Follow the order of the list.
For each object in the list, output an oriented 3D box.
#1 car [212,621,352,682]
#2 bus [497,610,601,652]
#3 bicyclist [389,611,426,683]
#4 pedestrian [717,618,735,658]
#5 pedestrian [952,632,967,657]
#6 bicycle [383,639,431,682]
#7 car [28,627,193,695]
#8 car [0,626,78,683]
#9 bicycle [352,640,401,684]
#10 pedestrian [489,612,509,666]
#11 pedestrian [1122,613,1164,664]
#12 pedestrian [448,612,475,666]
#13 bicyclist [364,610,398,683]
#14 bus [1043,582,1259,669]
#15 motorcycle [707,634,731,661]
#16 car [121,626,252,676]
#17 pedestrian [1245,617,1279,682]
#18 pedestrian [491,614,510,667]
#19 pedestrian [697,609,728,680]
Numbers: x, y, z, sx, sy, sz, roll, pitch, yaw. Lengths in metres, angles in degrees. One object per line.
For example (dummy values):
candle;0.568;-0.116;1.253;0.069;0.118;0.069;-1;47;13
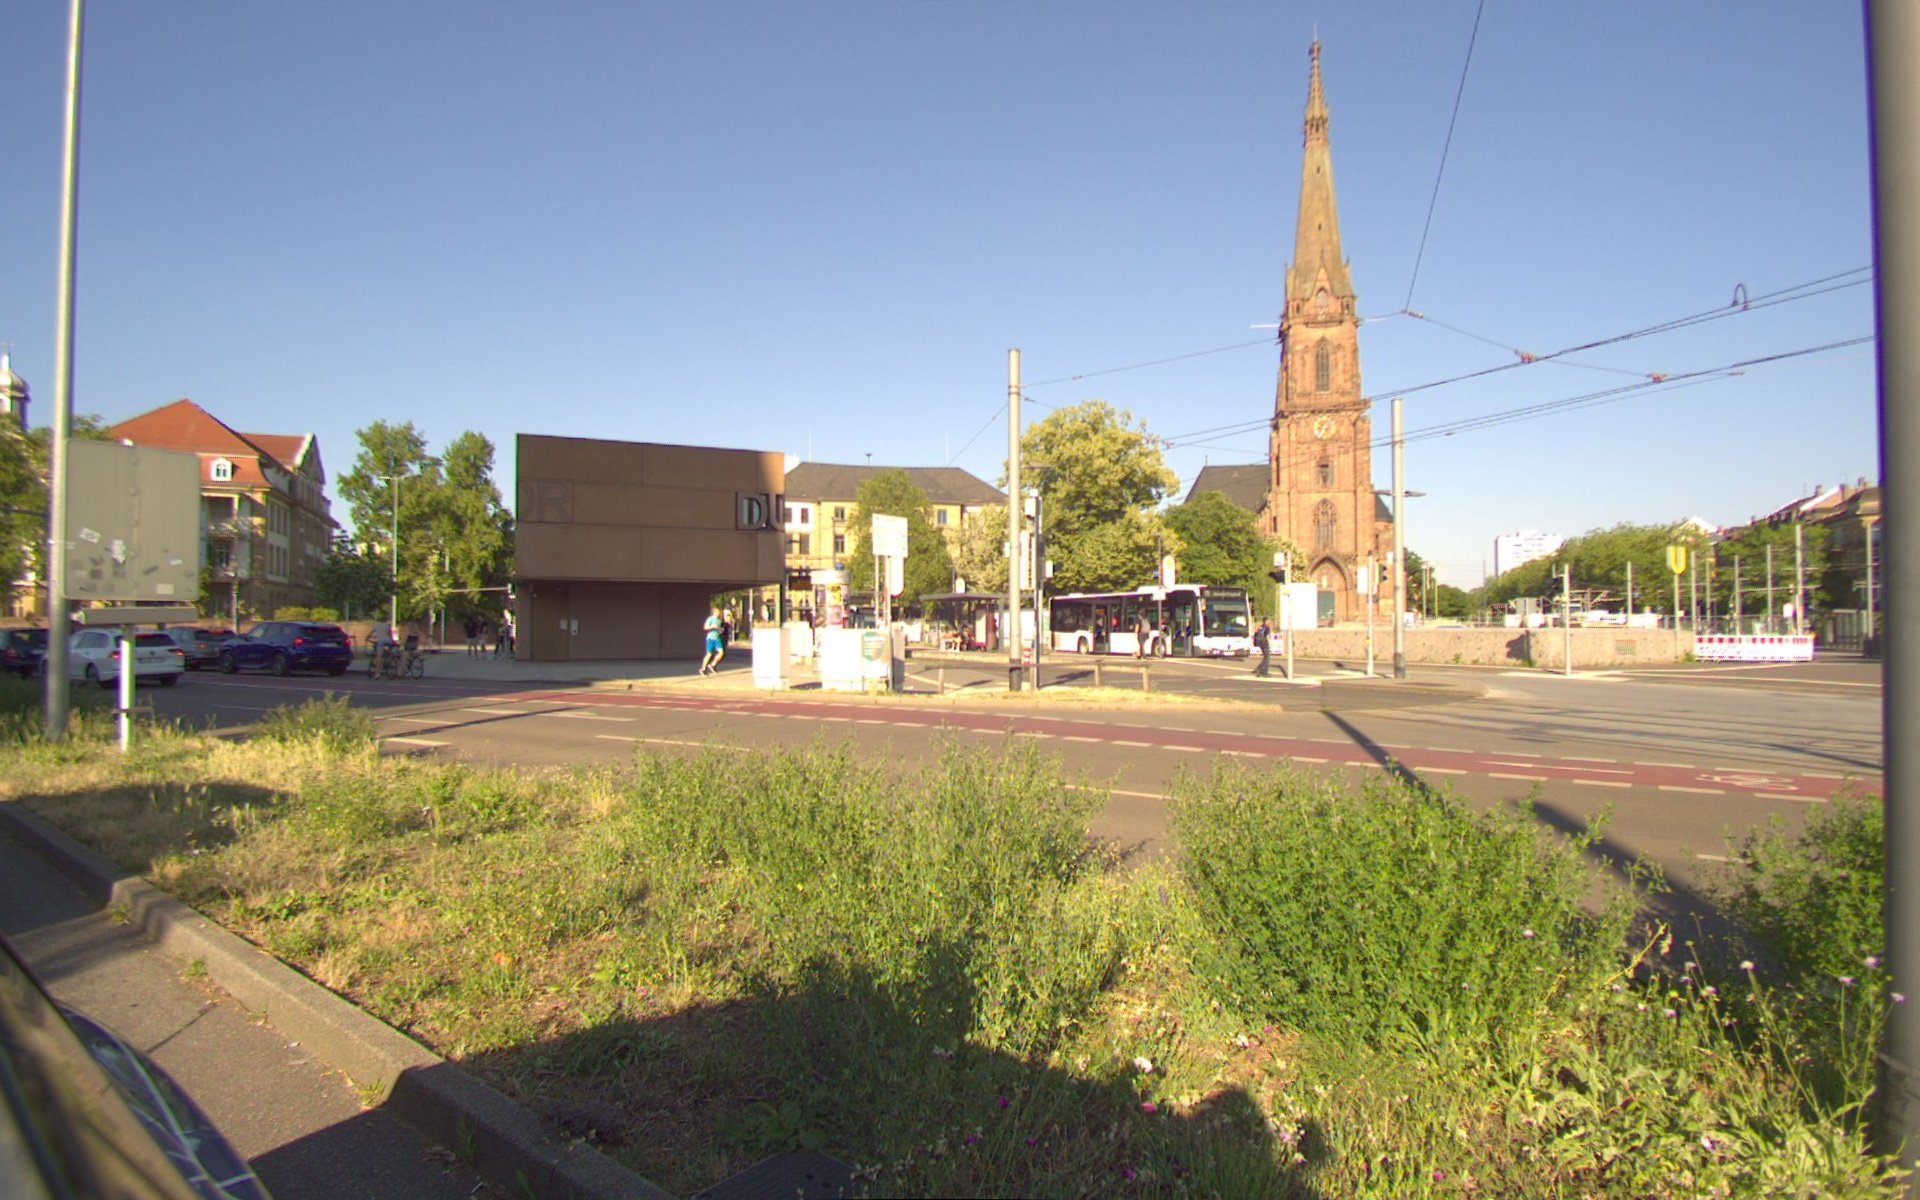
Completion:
car;-20.138;1.489;30.043;4.171;1.703;1.739;-1;-2;29
bus;-36.234;2.635;90.026;3.049;3.236;12.522;-1;0;6
bicyclist;-15.915;1.347;29.158;0.705;2.029;0.605;-1;-2;25
pedestrian;-12.142;1.978;52.511;0.762;2.029;0.778;-1;0;-2
pedestrian;-0.008;2.195;50.021;0.531;1.196;0.660;-1;0;-21
bicycle;-15.962;1.739;29.189;1.388;1.201;0.461;-1;0;24
car;-21.445;1.475;25.509;4.375;1.503;1.831;-1;0;30
car;-26.945;1.500;28.604;4.171;1.471;1.739;-1;0;29
bicycle;-16.492;1.746;28.606;1.388;1.201;0.461;-1;0;24
pedestrian;-17.677;1.482;38.807;0.645;2.029;0.470;-1;0;-29
pedestrian;6.333;1.315;35.012;1.025;1.696;1.007;-1;0;-25
pedestrian;-18.915;1.460;38.412;0.765;2.029;0.775;-1;0;-37
bicyclist;-16.326;1.314;28.553;0.562;2.029;0.605;-1;-2;25
bus;7.631;0.970;43.252;2.655;3.174;12.216;-1;0;-23
motorcycle;-10.013;1.957;42.014;0.935;1.075;0.331;-1;0;-11
car;-25.241;1.646;33.006;4.375;1.503;1.831;-1;-4;30
pedestrian;8.450;1.358;28.308;0.702;1.771;0.584;-1;0;-30
pedestrian;-18.026;1.580;39.692;0.645;2.029;0.470;-1;0;-29
pedestrian;-6.756;1.216;27.658;0.787;1.911;0.612;0;-2;-9
